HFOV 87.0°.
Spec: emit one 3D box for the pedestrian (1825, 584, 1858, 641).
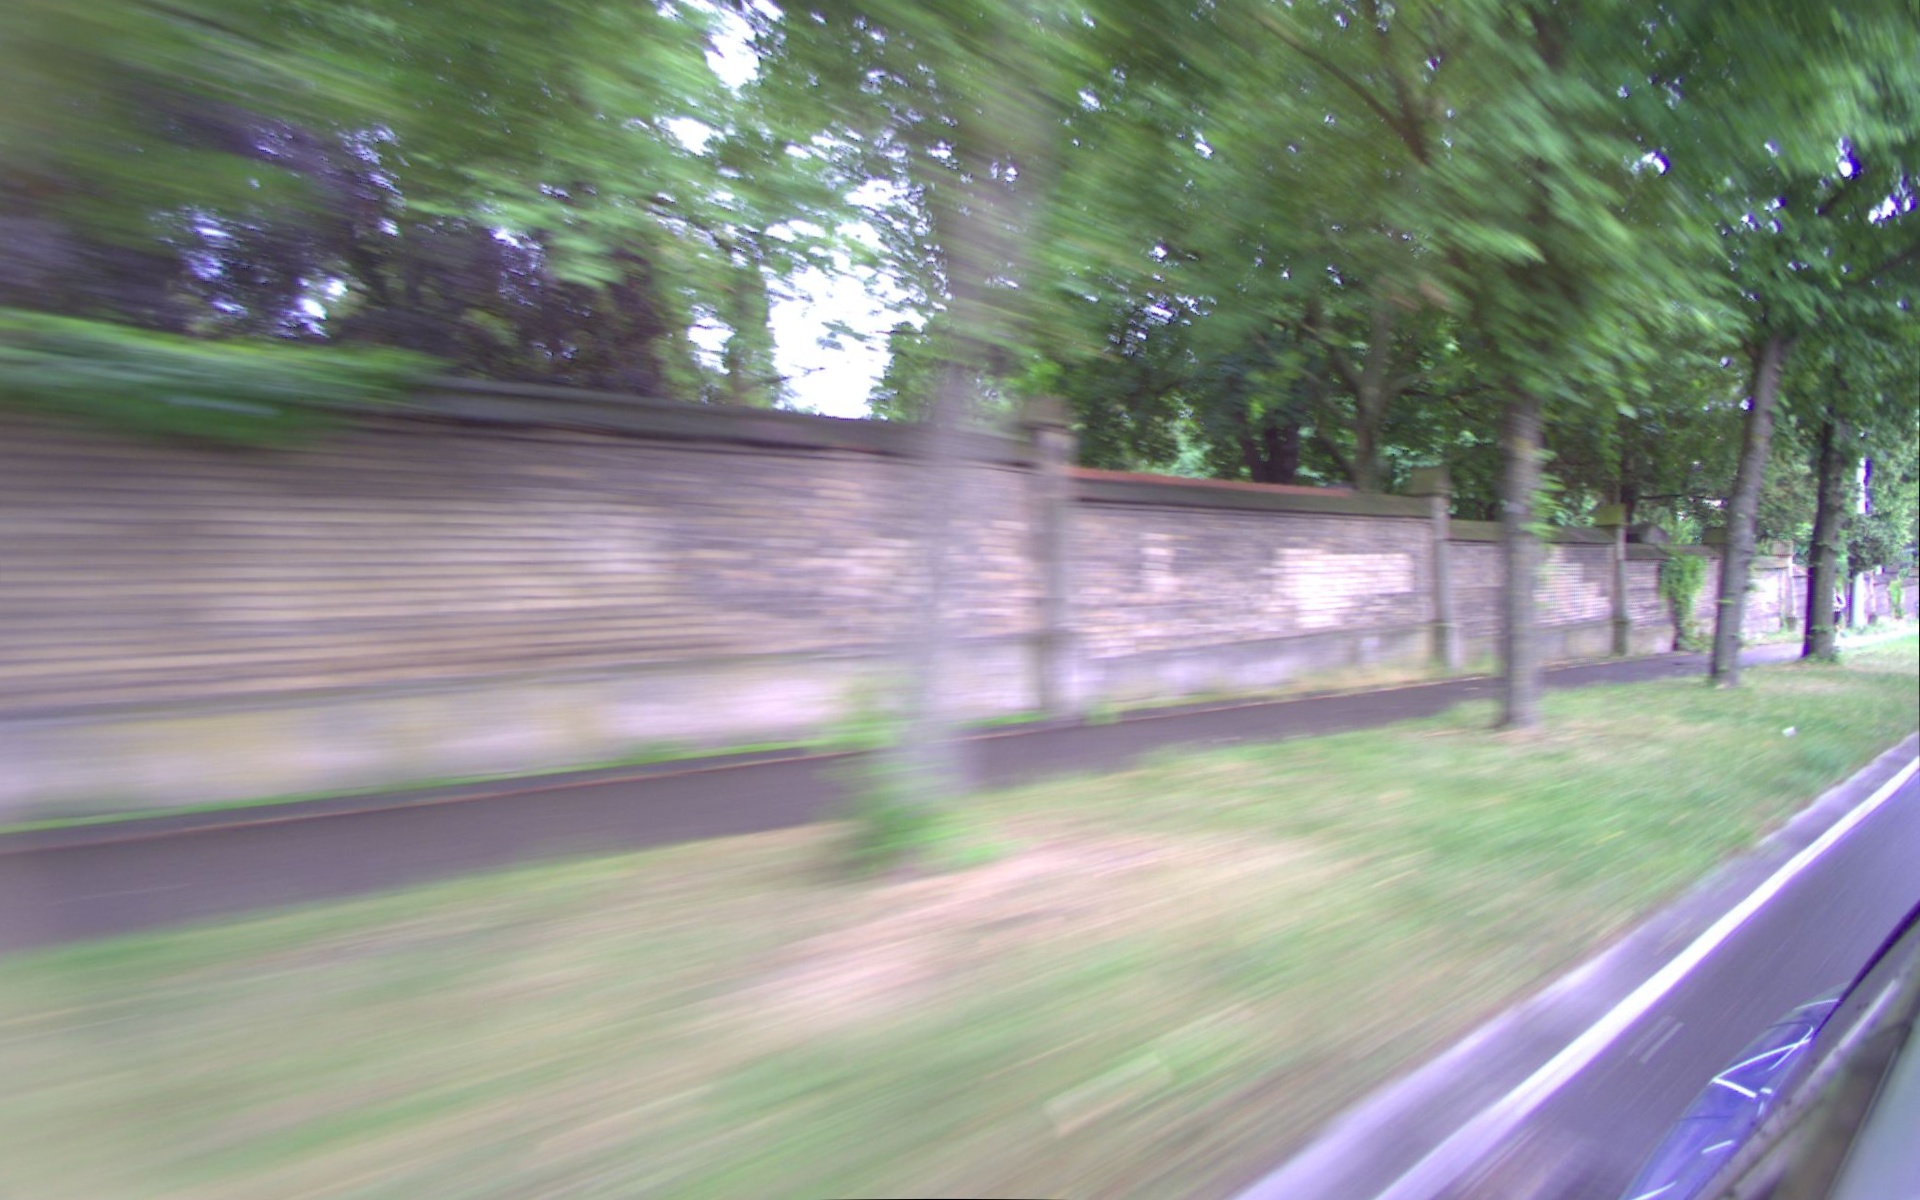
[{"bbox_3d":[28.433,0.404,32.655,0.886,1.802,0.709,1,0,-44],"label":"pedestrian"}]
